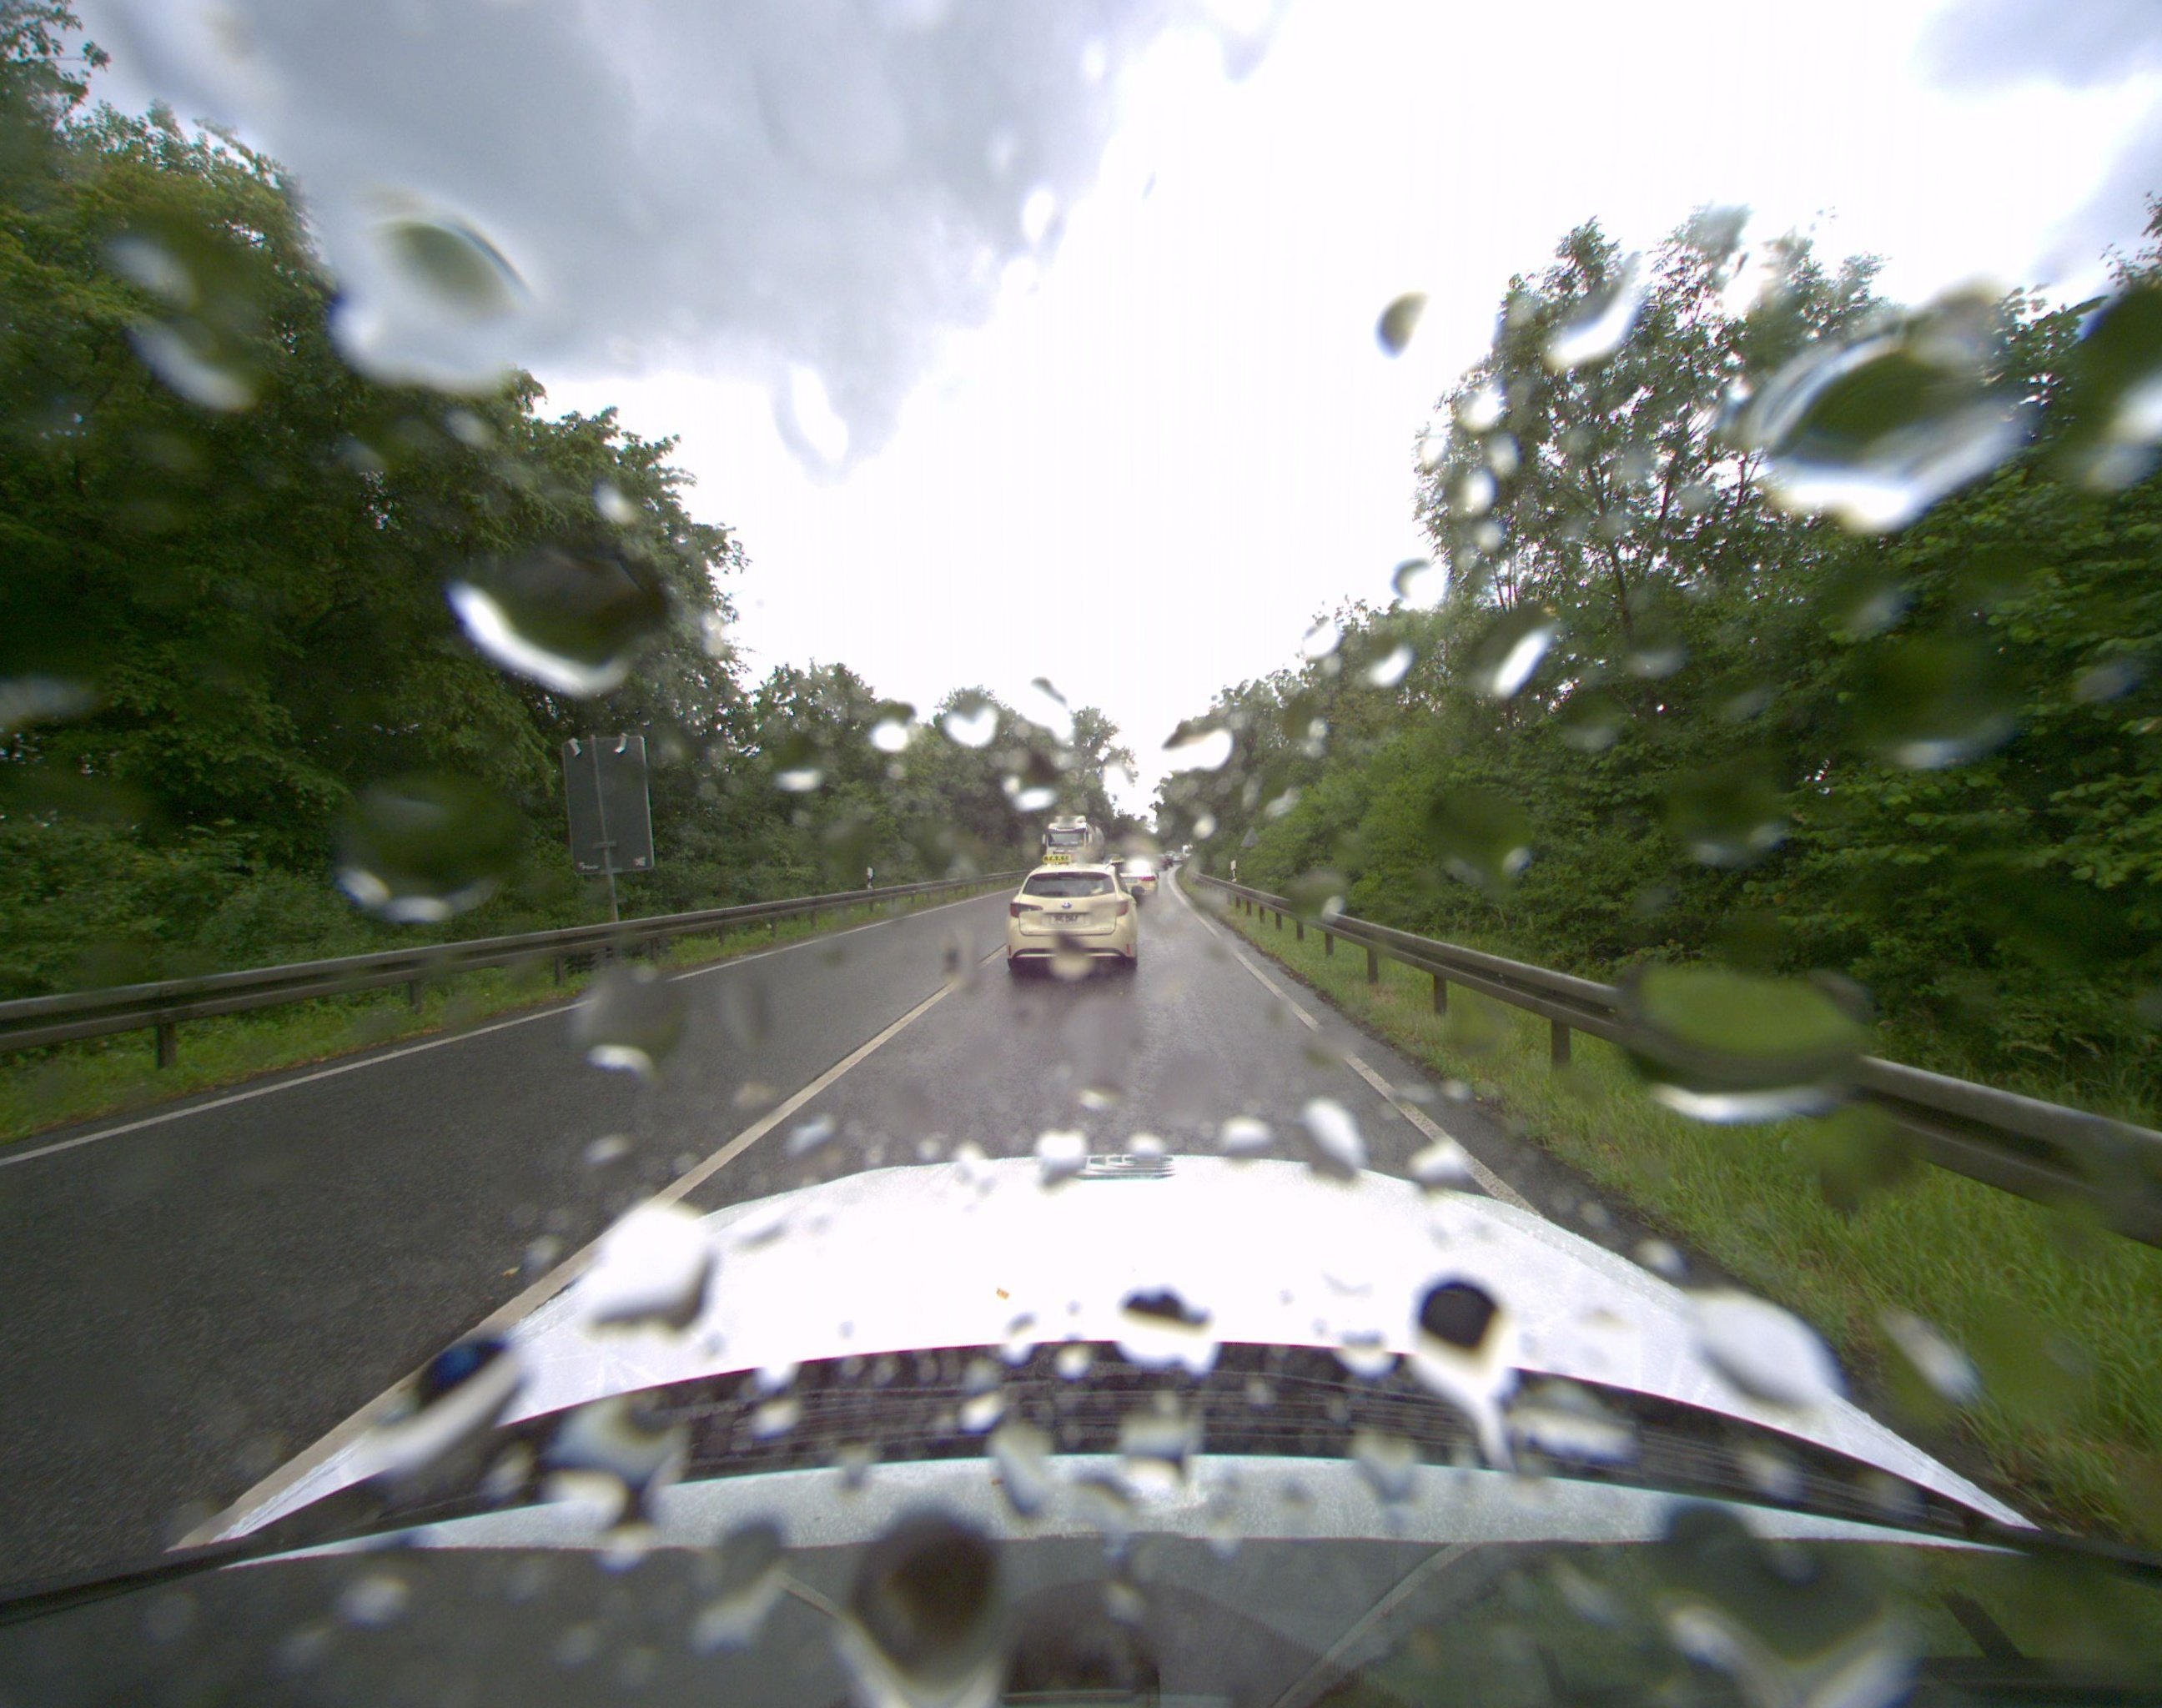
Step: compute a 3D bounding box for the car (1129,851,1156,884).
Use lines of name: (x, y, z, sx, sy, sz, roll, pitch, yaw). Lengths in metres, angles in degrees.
car: (3.052, 0.673, 40.858, 1.295, 1.547, 3.263, 0, -1, 4)

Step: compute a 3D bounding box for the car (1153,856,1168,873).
car: (7.465, 1.001, 76.387, 1.159, 1.547, 2.612, 0, -1, 12)

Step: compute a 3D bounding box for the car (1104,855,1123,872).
car: (3.152, 0.925, 78.878, 1.699, 1.516, 3.918, 0, -1, 5)

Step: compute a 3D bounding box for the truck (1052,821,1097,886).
truck: (-0.338, -0.012, 50.339, 2.526, 3.825, 5.248, 0, -1, 2)

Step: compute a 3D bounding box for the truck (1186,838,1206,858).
truck: (22.086, -1.139, 155.699, 3.085, 3.680, 7.024, -1, -1, 13)

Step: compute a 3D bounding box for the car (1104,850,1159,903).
car: (1.689, 0.706, 26.298, 1.659, 1.580, 3.897, 0, -1, 5)

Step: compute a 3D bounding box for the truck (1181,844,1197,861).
truck: (17.933, -0.131, 135.263, 2.536, 2.713, 7.549, 0, -1, 7)

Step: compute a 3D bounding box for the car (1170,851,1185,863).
car: (13.377, 0.401, 112.712, 1.758, 1.547, 3.825, 0, -1, 11)

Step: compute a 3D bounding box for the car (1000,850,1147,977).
car: (-0.018, 0.765, 12.257, 1.826, 1.580, 4.158, 0, -1, 2)

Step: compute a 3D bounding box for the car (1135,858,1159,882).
car: (4.506, 1.039, 55.397, 1.603, 1.547, 3.819, -1, 0, 5)

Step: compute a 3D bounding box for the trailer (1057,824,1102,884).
trailer: (0.005, 0.051, 55.710, 2.525, 3.825, 7.800, 0, -1, 4)
